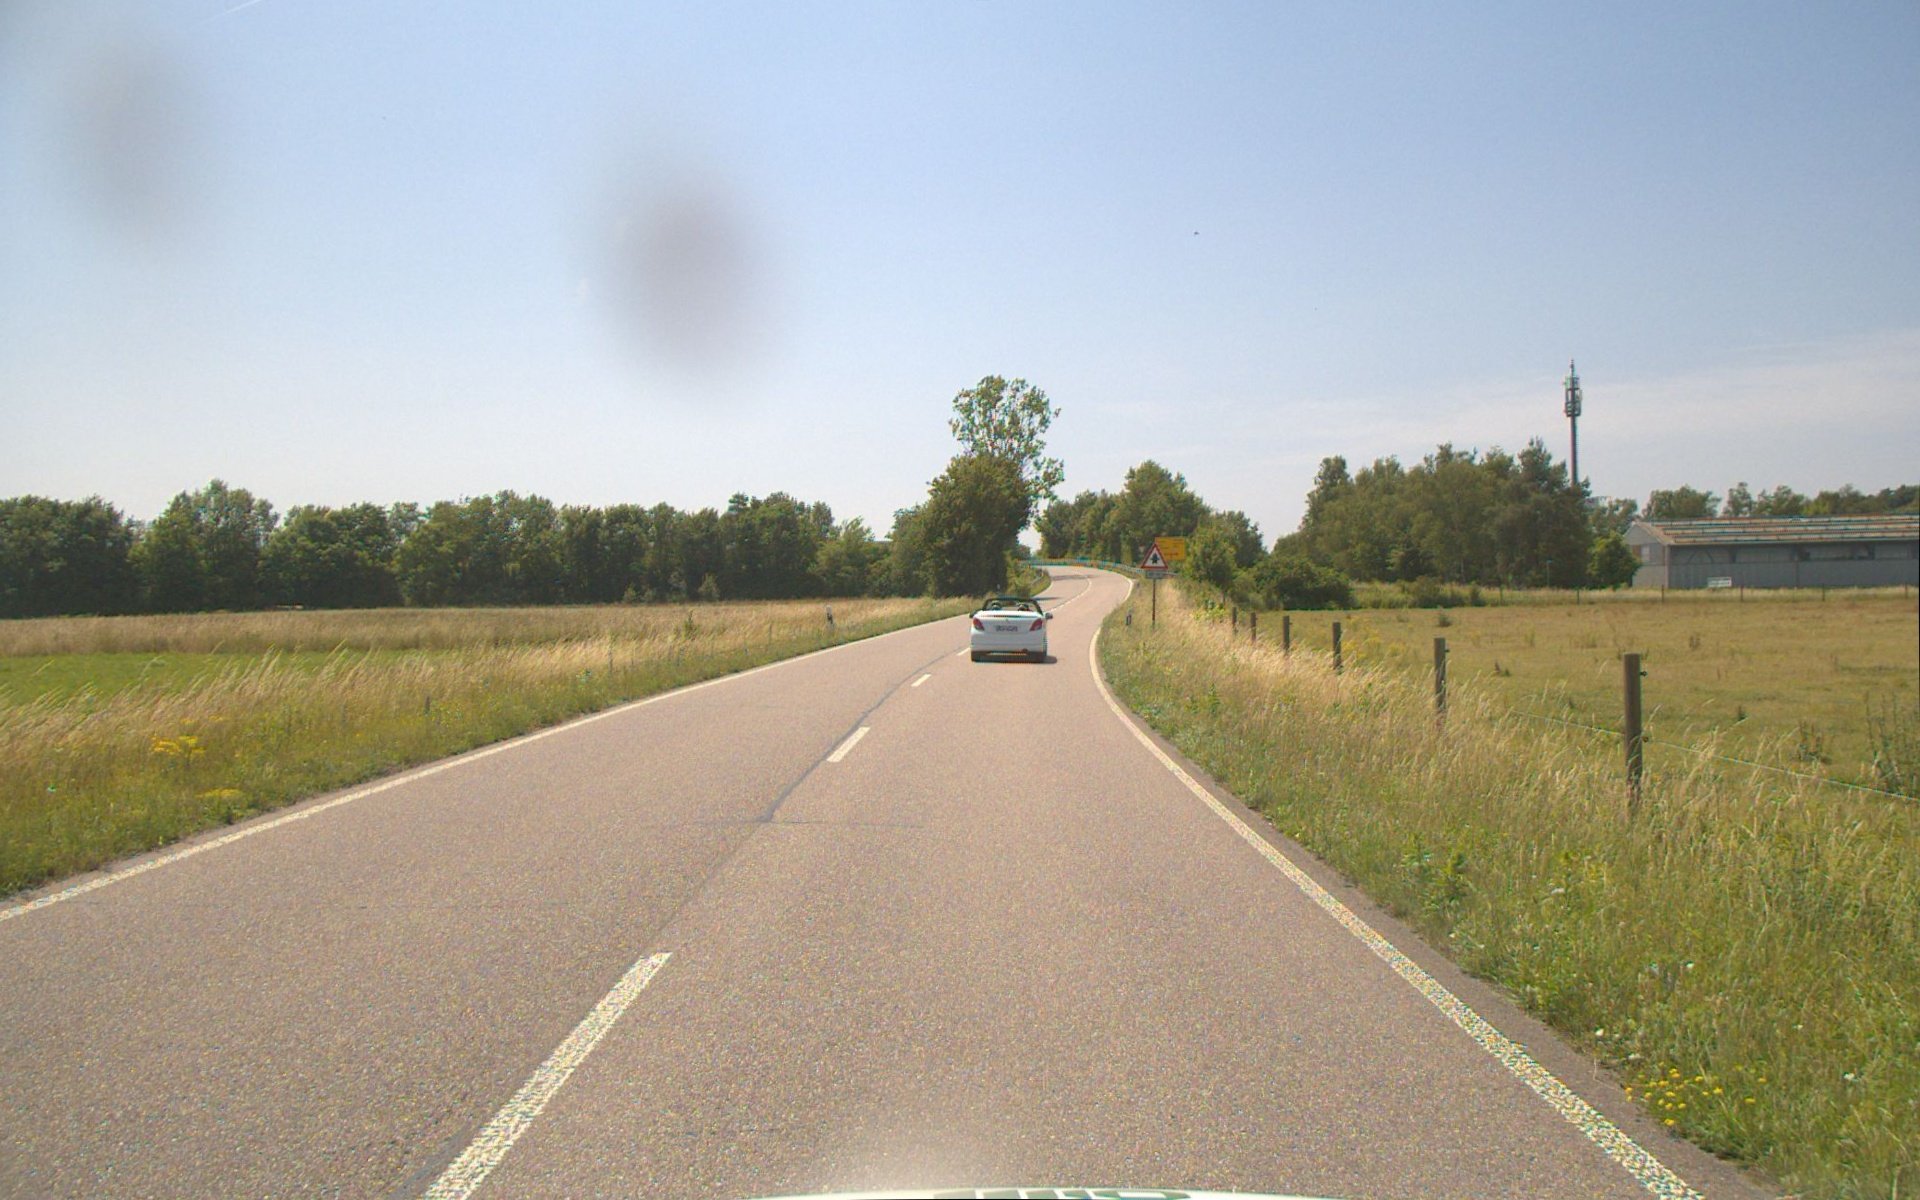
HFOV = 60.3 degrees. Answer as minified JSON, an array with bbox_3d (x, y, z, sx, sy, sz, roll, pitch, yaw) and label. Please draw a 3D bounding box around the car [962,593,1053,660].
[{"bbox_3d":[1.139,0.572,37.975,1.812,1.403,4.003,1,1,5],"label":"car"}]
